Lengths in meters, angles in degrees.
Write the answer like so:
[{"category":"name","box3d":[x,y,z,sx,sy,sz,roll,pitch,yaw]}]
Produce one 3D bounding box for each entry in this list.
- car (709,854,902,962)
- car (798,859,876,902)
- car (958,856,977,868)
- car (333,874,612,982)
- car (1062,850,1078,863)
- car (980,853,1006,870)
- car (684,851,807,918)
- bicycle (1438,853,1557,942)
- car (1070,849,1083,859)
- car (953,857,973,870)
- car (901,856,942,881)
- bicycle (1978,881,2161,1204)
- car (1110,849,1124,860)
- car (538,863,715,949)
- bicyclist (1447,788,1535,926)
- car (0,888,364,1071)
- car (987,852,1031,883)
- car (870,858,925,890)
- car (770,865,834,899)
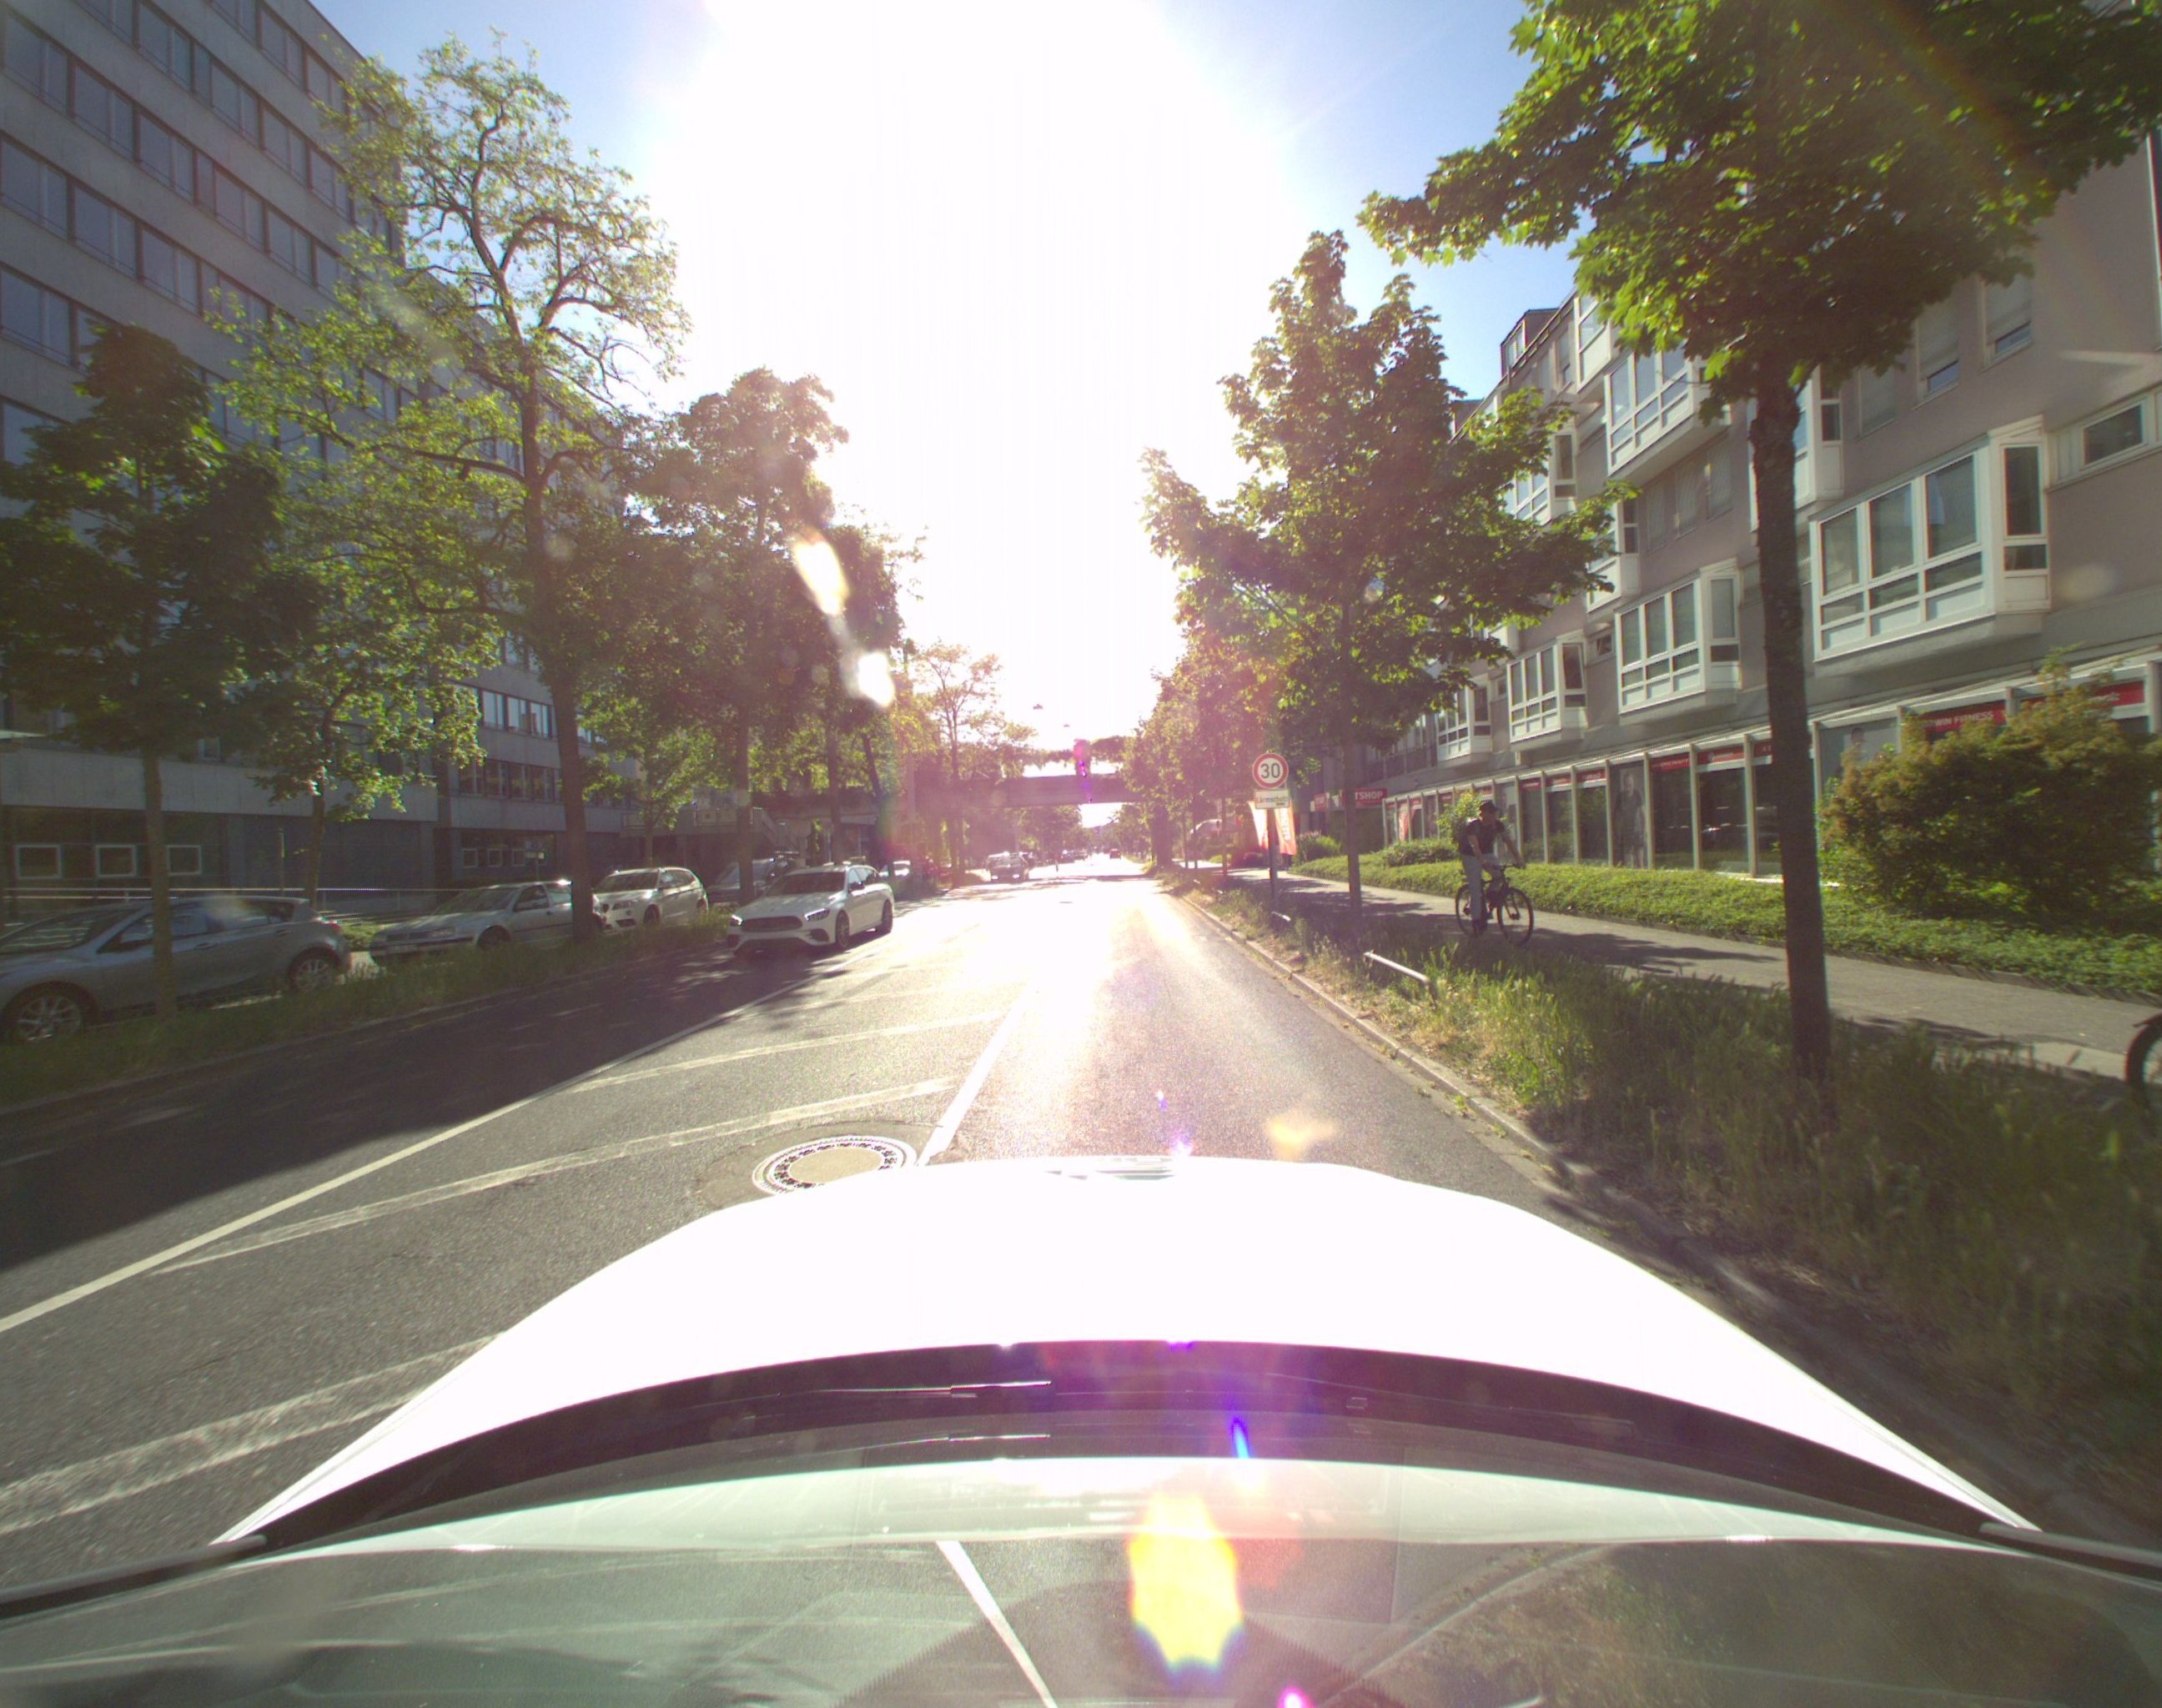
[{"category":"car","box3d":[-4.973,0.871,15.519,1.849,1.568,4.717,-4,0,1]},{"category":"car","box3d":[-10.024,1.058,33.794,1.848,1.568,3.874,-2,0,3]},{"category":"car","box3d":[-15.622,1.077,112.352,1.849,1.523,4.320,-2,0,1]},{"category":"car","box3d":[-10.816,1.233,14.930,1.848,1.523,4.067,-2,0,3]},{"category":"car","box3d":[-1.399,0.351,102.832,1.849,1.523,4.320,-2,0,1]},{"category":"car","box3d":[-8.325,0.695,77.147,1.849,1.523,4.078,-2,0,1]},{"category":"car","box3d":[-10.414,0.856,25.669,1.849,1.850,4.563,-2,0,1]},{"category":"bicycle","box3d":[5.328,0.514,10.551,0.587,1.027,1.860,-2,0,1]},{"category":"car","box3d":[-0.617,0.002,127.043,1.849,1.523,4.320,-2,0,1]},{"category":"car","box3d":[-15.342,1.181,106.436,1.849,1.523,4.320,-2,0,1]},{"category":"car","box3d":[-9.287,0.826,47.691,1.627,1.307,3.583,-2,0,1]},{"category":"bicycle","box3d":[3.964,0.683,2.564,0.586,1.066,2.032,-2,1,18]},{"category":"car","box3d":[5.274,0.056,119.420,1.848,1.523,4.323,-2,0,4]},{"category":"car","box3d":[-10.757,1.129,19.743,1.852,1.684,4.659,-2,0,-3]},{"category":"bicyclist","box3d":[5.313,0.039,10.597,0.665,1.695,0.889,-2,0,1]},{"category":"car","box3d":[-11.017,1.284,9.218,1.849,1.523,4.320,-2,0,2]},{"category":"car","box3d":[-3.884,0.695,44.610,1.849,1.439,4.320,-4,0,1]},{"category":"car","box3d":[-9.713,1.034,43.488,1.849,1.523,4.320,-2,0,1]},{"category":"car","box3d":[-15.148,1.490,44.484,1.849,1.523,4.320,-3,0,1]}]
